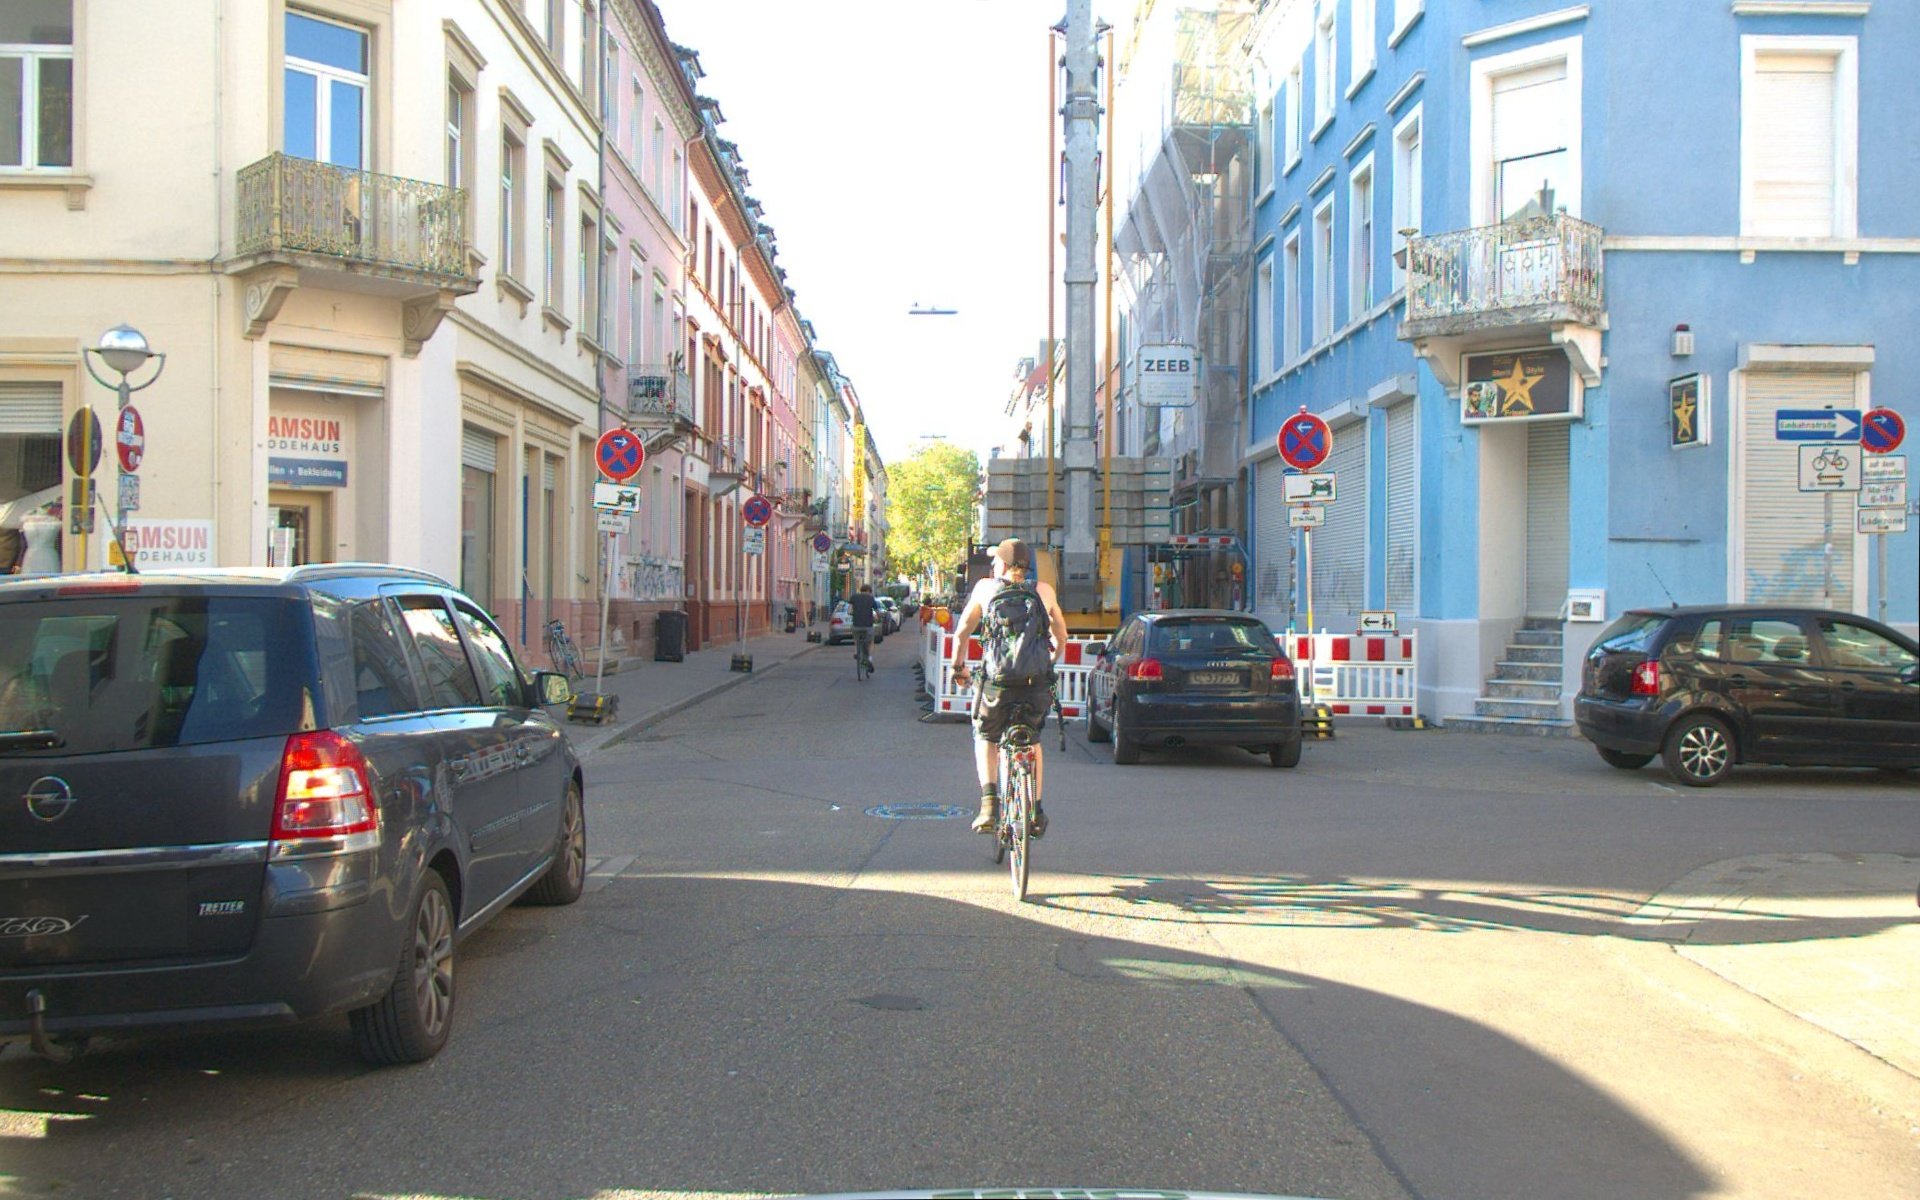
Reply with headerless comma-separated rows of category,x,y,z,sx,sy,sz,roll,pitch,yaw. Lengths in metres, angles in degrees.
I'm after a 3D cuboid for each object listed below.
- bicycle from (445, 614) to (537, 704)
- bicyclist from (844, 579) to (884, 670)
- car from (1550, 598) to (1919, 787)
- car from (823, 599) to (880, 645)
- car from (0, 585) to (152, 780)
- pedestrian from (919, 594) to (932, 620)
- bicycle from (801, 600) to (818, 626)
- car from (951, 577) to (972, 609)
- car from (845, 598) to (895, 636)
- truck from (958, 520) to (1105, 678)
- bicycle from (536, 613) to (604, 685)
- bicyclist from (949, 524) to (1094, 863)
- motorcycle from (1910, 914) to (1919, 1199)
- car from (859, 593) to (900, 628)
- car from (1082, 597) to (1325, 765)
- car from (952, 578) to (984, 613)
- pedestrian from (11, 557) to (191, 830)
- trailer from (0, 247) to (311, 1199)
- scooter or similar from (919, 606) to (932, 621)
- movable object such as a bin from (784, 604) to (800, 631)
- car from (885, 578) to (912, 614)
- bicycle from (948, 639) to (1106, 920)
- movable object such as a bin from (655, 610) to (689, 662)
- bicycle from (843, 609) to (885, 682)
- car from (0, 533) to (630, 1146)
bicycle,-5.884,0.723,20.838,0.591,1.040,1.818,4,-1,-1
bicyclist,-1.772,0.442,30.630,0.688,1.633,0.812,-1,1,-2
car,7.231,0.748,14.104,3.789,1.479,1.676,1,0,-1
car,-3.602,0.715,55.567,1.676,1.407,4.504,-2,0,-1
car,-9.014,0.605,13.384,4.057,1.481,1.758,1,0,-3
pedestrian,-2.140,0.442,101.606,0.755,1.606,0.900,1,-1,-3
bicycle,-6.802,0.585,74.845,0.580,1.108,2.078,1,0,-1
car,0.163,-0.887,204.927,2.261,3.833,6.768,-2,0,-1
car,-3.579,0.657,66.524,1.675,1.407,4.357,0,1,1
truck,1.333,-0.004,34.413,2.607,2.863,7.392,1,0,-1
bicycle,-5.975,0.736,25.441,0.609,1.040,1.818,1,0,-1
bicyclist,0.300,0.463,8.703,0.687,1.662,1.090,1,-1,-1
motorcycle,2.442,0.971,2.865,0.703,1.105,1.998,2,0,10
car,-3.531,0.473,73.326,1.638,1.467,4.164,-2,0,-1
car,2.312,0.715,16.658,1.736,1.459,4.032,1,0,-2
car,0.618,-0.333,131.797,2.261,2.582,6.768,-2,0,-1
pedestrian,-5.829,0.603,11.265,0.679,1.730,0.865,4,2,-1
trailer,-2.451,0.439,2.240,1.629,2.097,4.360,-1,0,-4
scooter or similar,-2.126,0.799,101.126,0.755,0.888,0.770,1,0,-3
movable object such as a bin,-6.250,0.655,61.611,0.532,0.961,0.487,1,-1,0
car,-4.474,-0.303,120.417,1.871,2.540,4.163,-1,0,-3
bicycle,0.297,0.845,8.707,0.687,1.229,2.341,1,0,-1
movable object such as a bin,-5.930,0.731,34.033,0.593,1.053,0.596,1,-1,-3
bicycle,-1.764,0.817,30.635,0.688,1.229,2.342,-1,1,-1
car,-2.491,0.632,6.549,1.687,1.633,4.164,-1,1,-3
